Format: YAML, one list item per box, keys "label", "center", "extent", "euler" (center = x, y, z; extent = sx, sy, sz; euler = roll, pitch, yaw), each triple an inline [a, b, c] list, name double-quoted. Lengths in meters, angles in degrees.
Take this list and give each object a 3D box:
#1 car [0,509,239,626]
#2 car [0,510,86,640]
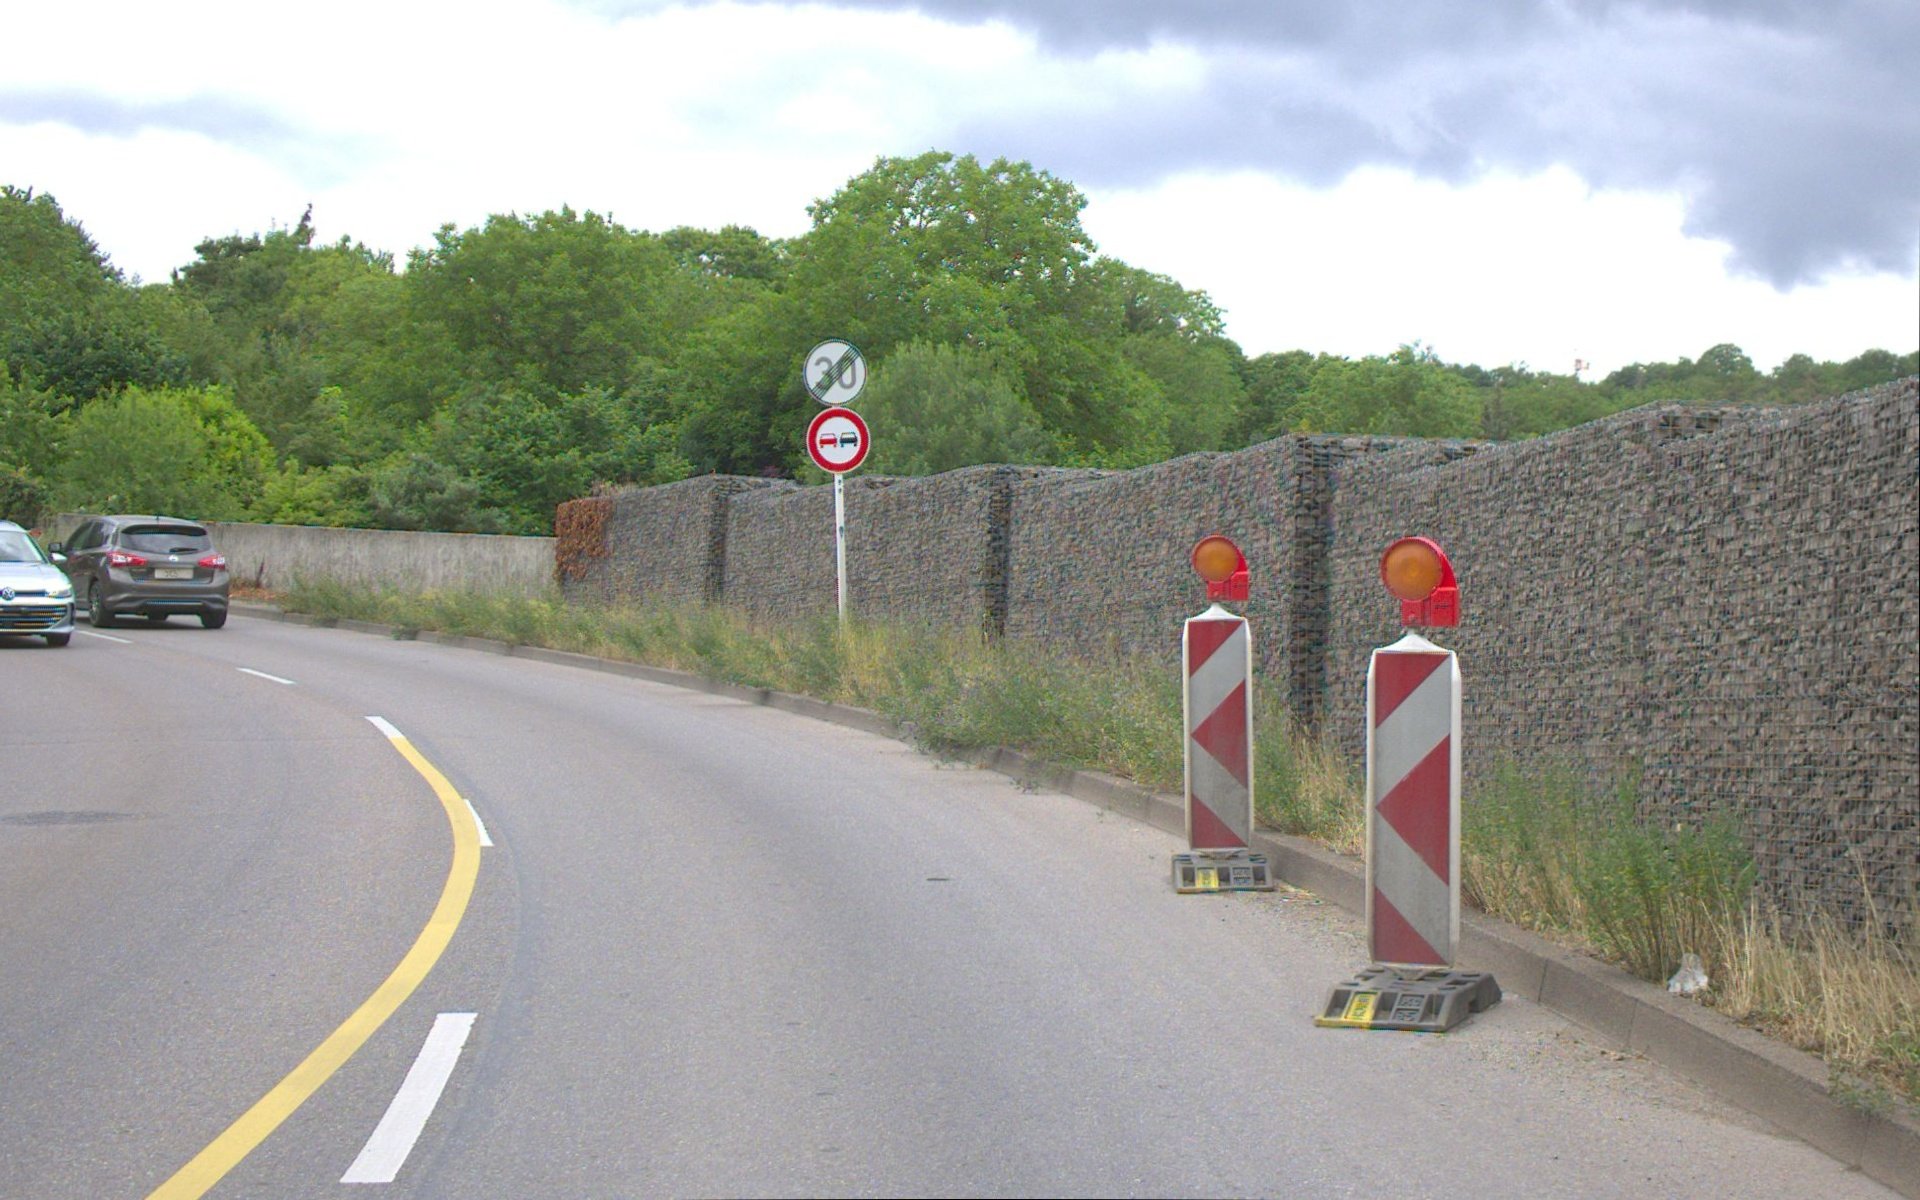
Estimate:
- label: "car"
  center: [-11.687, -0.485, 47.338]
  extent: [1.840, 1.478, 3.999]
  euler: [-1, 3, -38]
- label: "car"
  center: [-12.315, -0.345, 42.403]
  extent: [1.881, 1.472, 4.602]
  euler: [-1, 3, -28]
